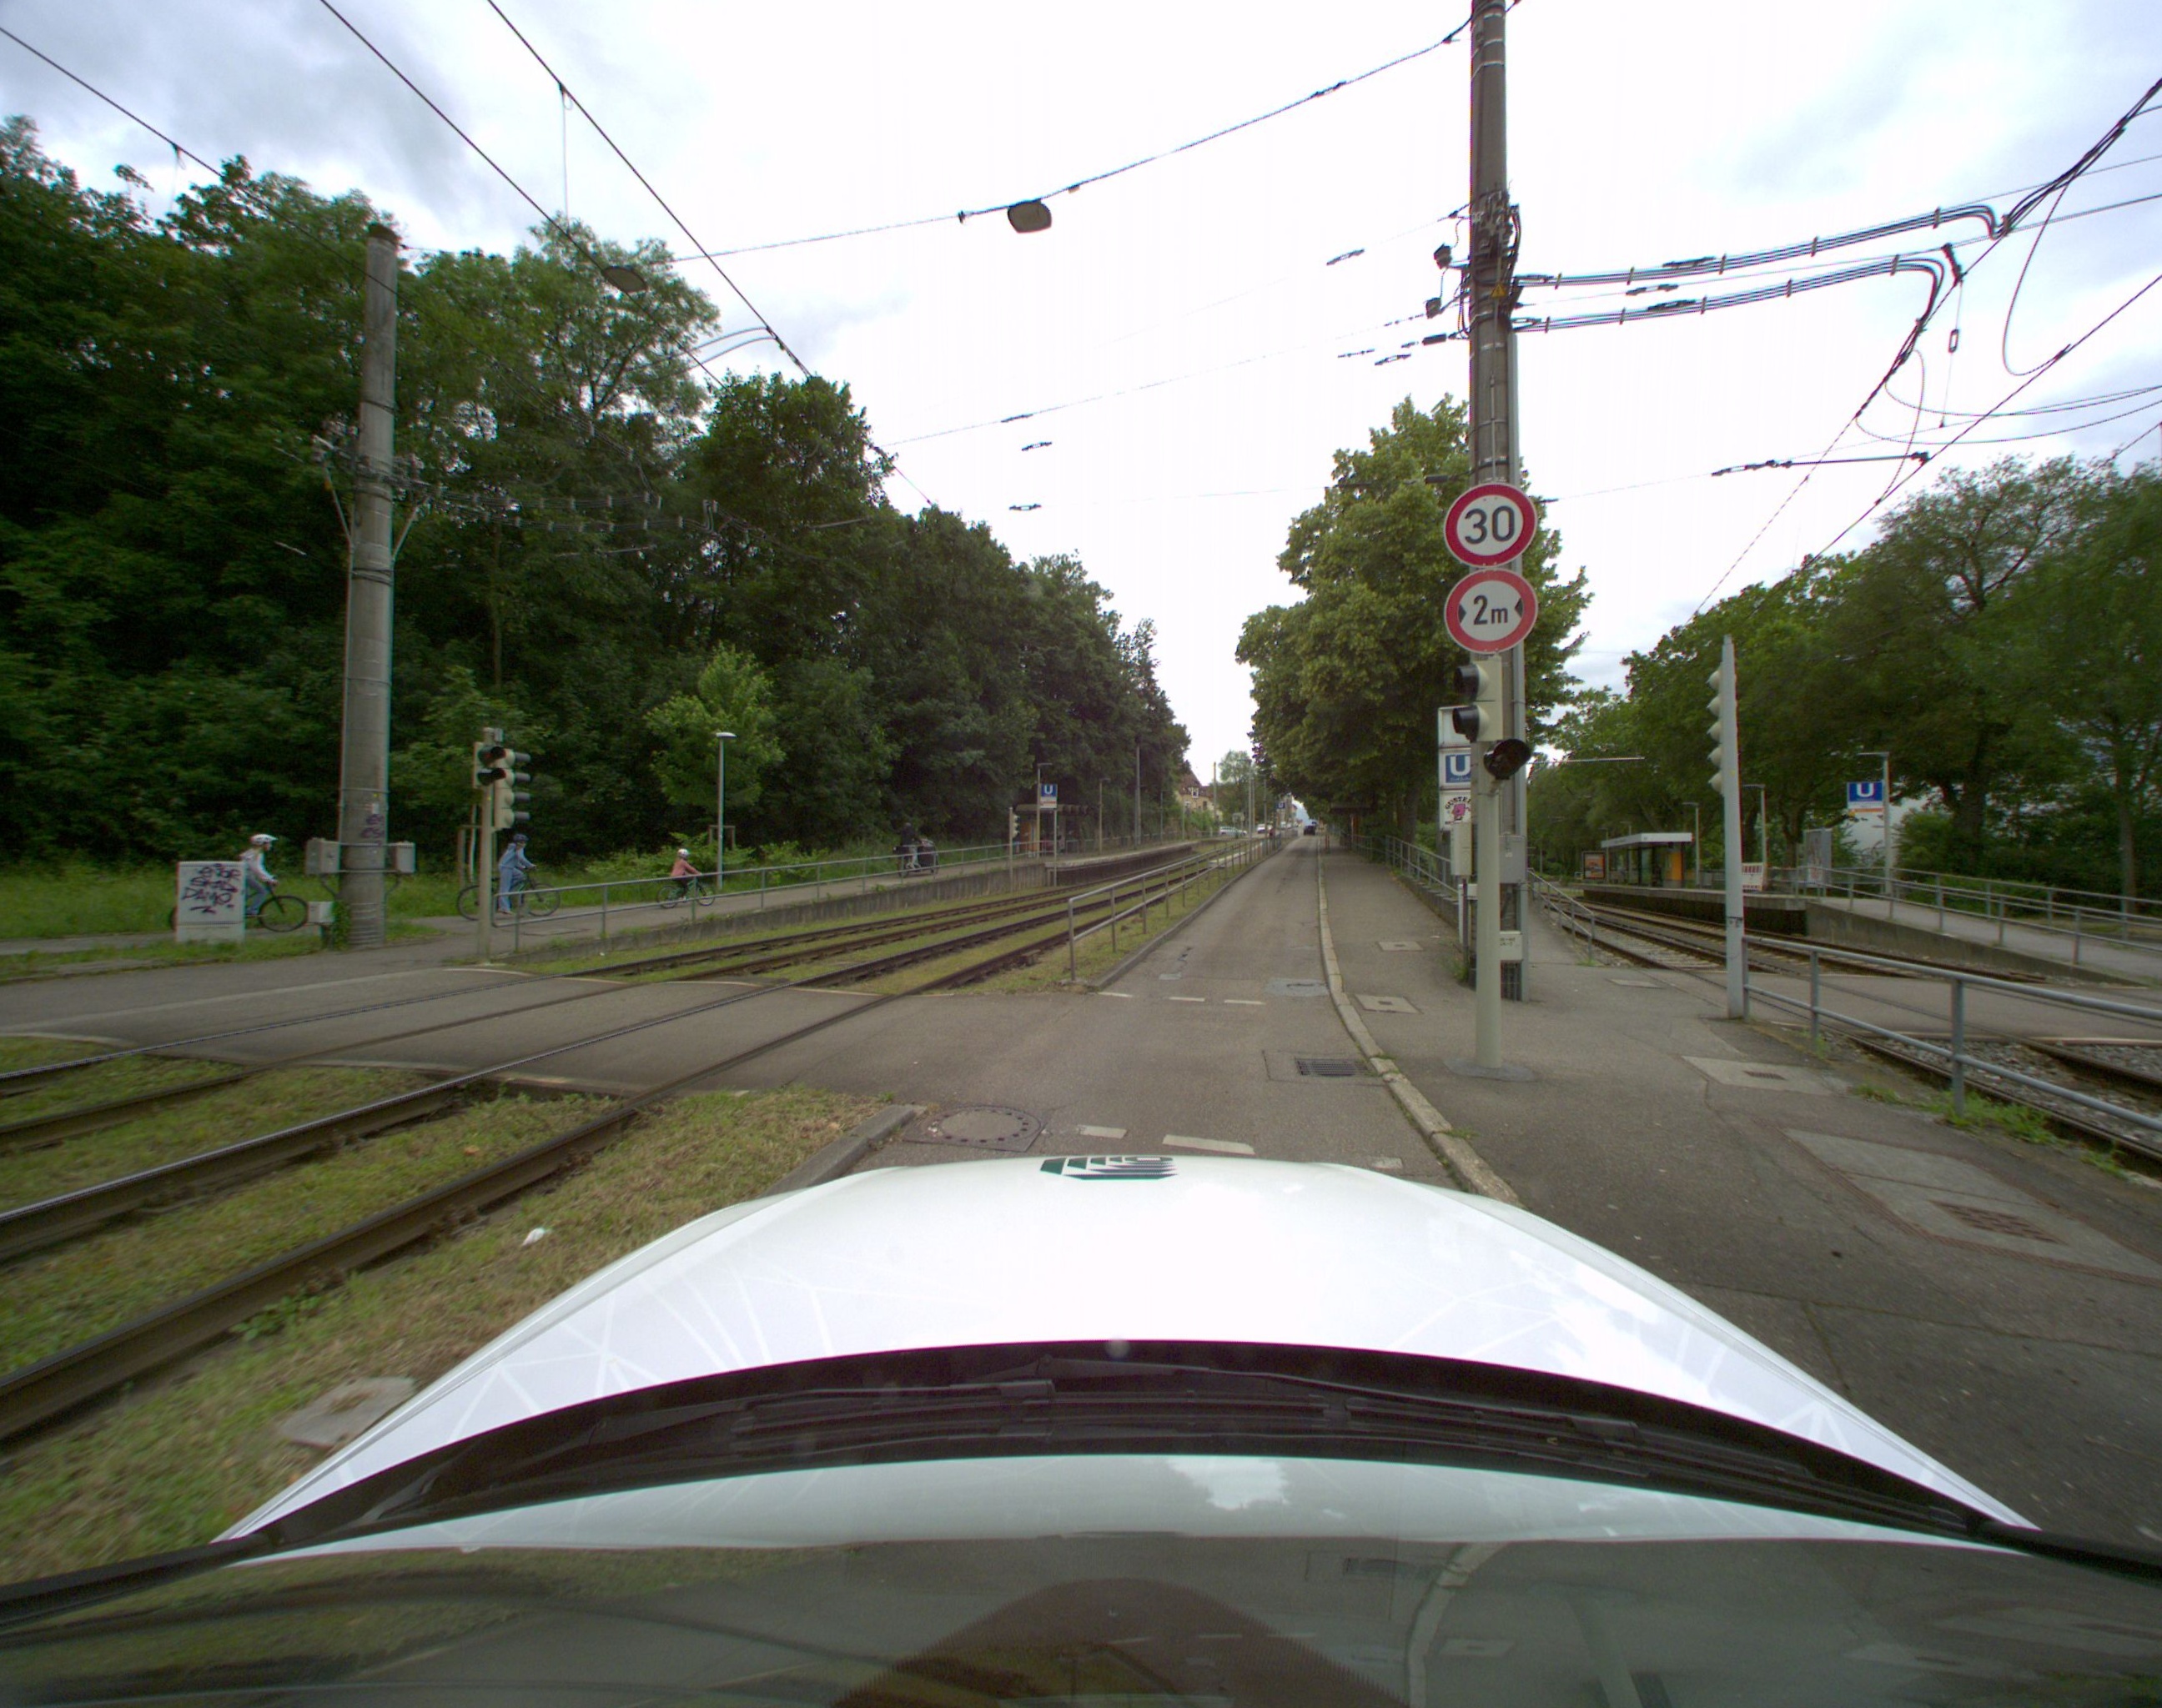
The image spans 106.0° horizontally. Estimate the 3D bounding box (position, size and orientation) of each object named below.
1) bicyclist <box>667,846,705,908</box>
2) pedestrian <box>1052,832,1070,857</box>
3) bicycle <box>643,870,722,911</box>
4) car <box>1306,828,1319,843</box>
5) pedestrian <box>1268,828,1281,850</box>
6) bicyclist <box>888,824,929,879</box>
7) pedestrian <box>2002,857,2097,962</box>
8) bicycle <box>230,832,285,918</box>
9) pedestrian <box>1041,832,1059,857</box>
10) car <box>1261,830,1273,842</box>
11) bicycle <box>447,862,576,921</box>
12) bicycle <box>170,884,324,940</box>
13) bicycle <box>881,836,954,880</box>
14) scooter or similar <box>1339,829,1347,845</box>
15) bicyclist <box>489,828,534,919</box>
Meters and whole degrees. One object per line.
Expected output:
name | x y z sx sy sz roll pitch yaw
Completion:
bicyclist | -8.755 0.504 18.056 0.449 1.301 0.585 3 4 32
pedestrian | -1.116 -0.522 45.819 0.766 1.326 0.790 3 -1 16
bicycle | -8.790 0.788 18.023 0.449 0.738 1.569 3 4 32
car | 38.105 -3.011 134.158 1.979 2.145 4.016 3 -1 16
pedestrian | 12.965 -1.013 54.623 0.737 1.409 0.750 3 3 16
bicyclist | -5.607 -0.119 26.540 0.727 1.711 1.299 3 3 19
pedestrian | 16.148 0.898 13.592 0.730 1.665 0.684 3 -1 13
bicycle | -13.226 0.328 13.076 0.449 1.329 0.519 3 2 30
pedestrian | -1.698 -0.538 44.709 0.766 1.326 0.790 3 2 16
car | 36.921 -3.479 161.379 1.979 2.145 4.016 3 -1 16
bicycle | -10.804 0.682 15.502 1.955 1.041 0.469 1 2 -43
bicycle | -13.284 0.895 13.030 0.449 0.738 1.663 3 2 30
bicycle | -5.388 0.077 27.167 0.727 1.289 3.364 3 3 19
scooter or similar | 19.147 -1.231 59.590 0.340 1.157 1.150 3 -1 10
bicyclist | -10.817 0.365 15.467 0.627 1.674 0.469 1 2 -43
